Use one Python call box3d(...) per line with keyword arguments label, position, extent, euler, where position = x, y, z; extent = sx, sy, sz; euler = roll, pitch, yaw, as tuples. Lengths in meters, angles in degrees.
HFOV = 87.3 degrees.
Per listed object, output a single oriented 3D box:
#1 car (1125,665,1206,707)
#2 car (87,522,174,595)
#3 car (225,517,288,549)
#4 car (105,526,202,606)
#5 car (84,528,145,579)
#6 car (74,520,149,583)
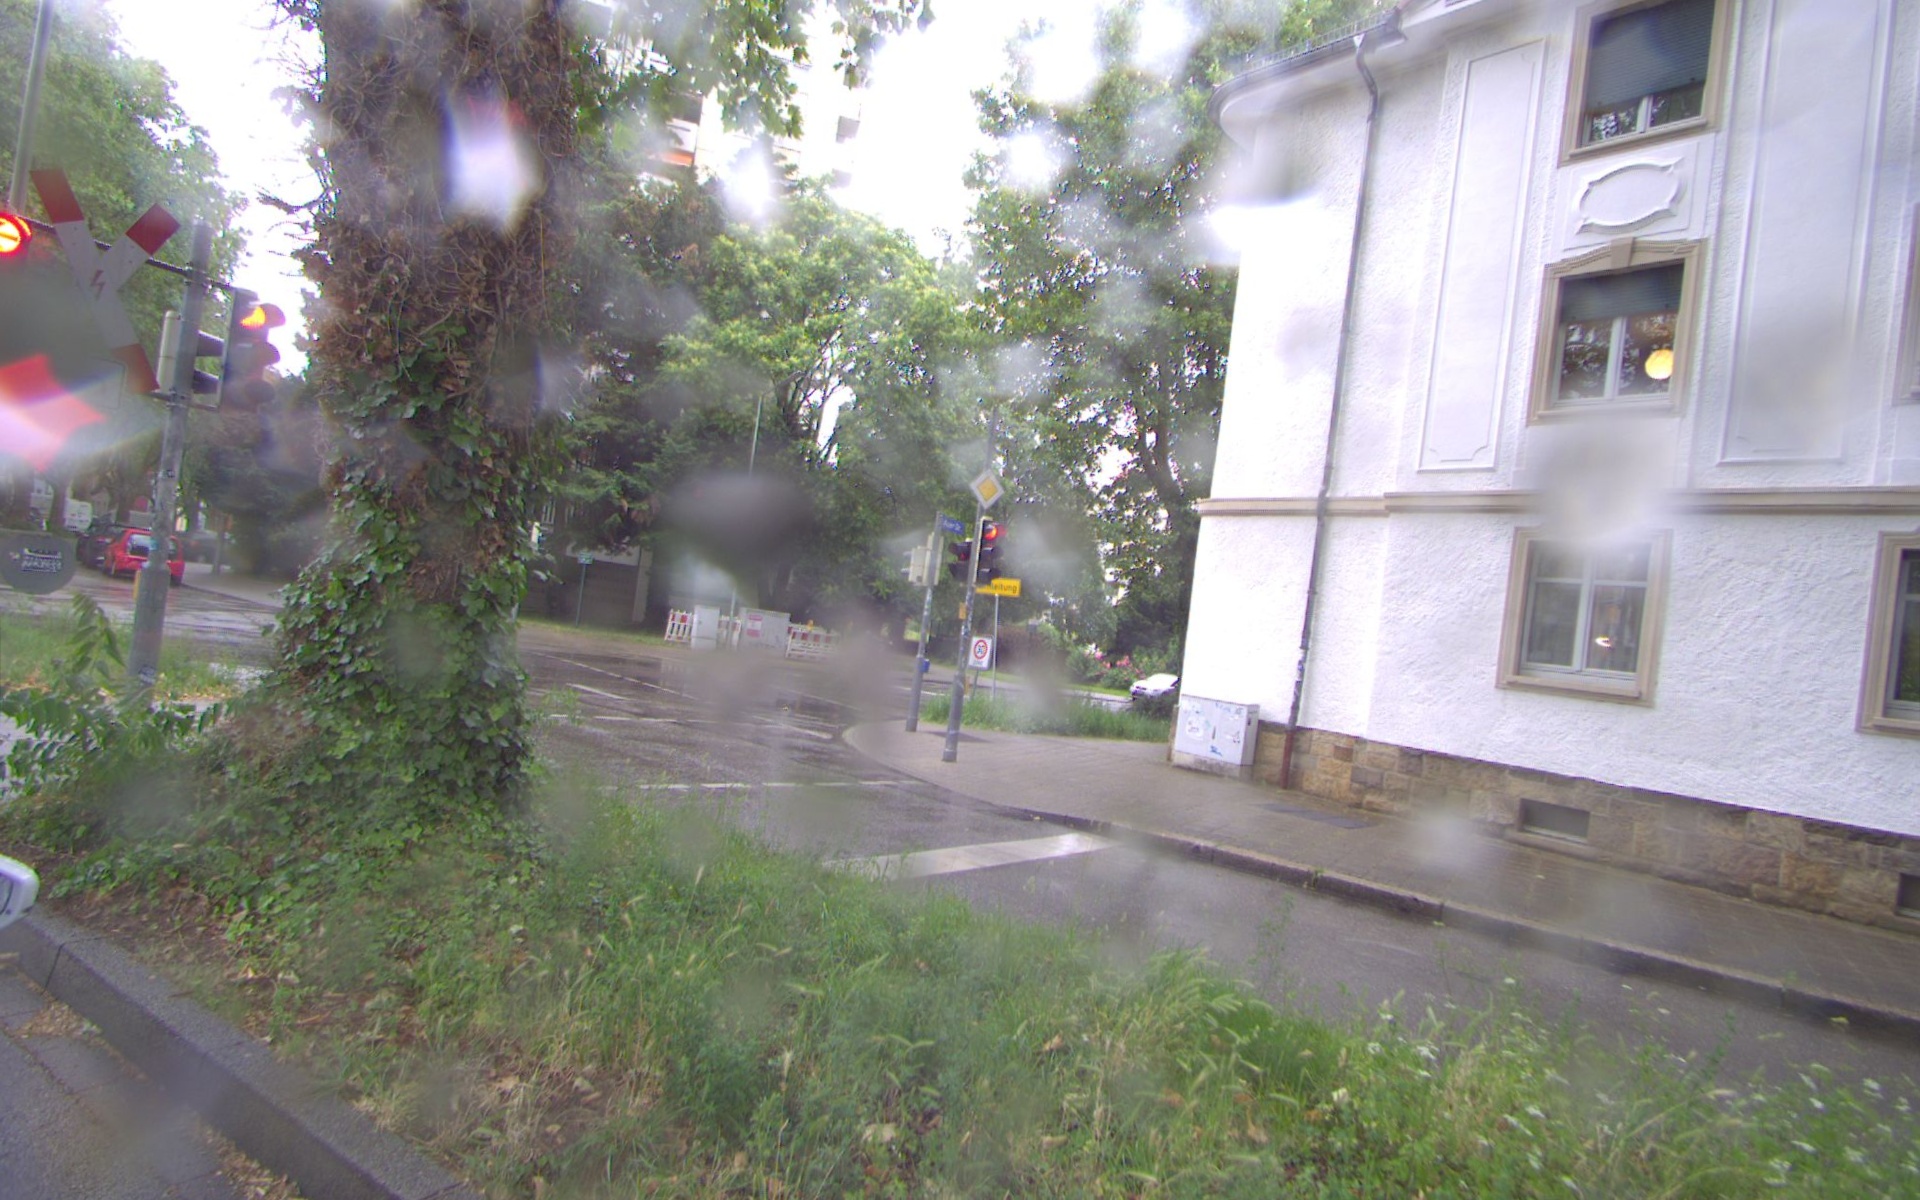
box3d(label="car", position=(9.341, 3.910, 45.663), extent=(3.630, 1.504, 1.704), euler=(8, 0, -43))
box3d(label="car", position=(-27.947, -1.435, 33.847), extent=(1.986, 2.038, 3.953), euler=(7, 0, -42))
box3d(label="car", position=(-57.175, -5.444, 81.825), extent=(3.969, 2.038, 1.689), euler=(7, 0, -39))
box3d(label="car", position=(-24.813, -1.071, 30.897), extent=(1.986, 2.038, 3.953), euler=(7, 0, -42))
box3d(label="car", position=(-40.702, -2.256, 48.408), extent=(1.986, 2.038, 3.953), euler=(7, 0, -42))
box3d(label="car", position=(-32.894, -1.919, 38.961), extent=(1.986, 2.038, 3.953), euler=(7, 0, -42))
